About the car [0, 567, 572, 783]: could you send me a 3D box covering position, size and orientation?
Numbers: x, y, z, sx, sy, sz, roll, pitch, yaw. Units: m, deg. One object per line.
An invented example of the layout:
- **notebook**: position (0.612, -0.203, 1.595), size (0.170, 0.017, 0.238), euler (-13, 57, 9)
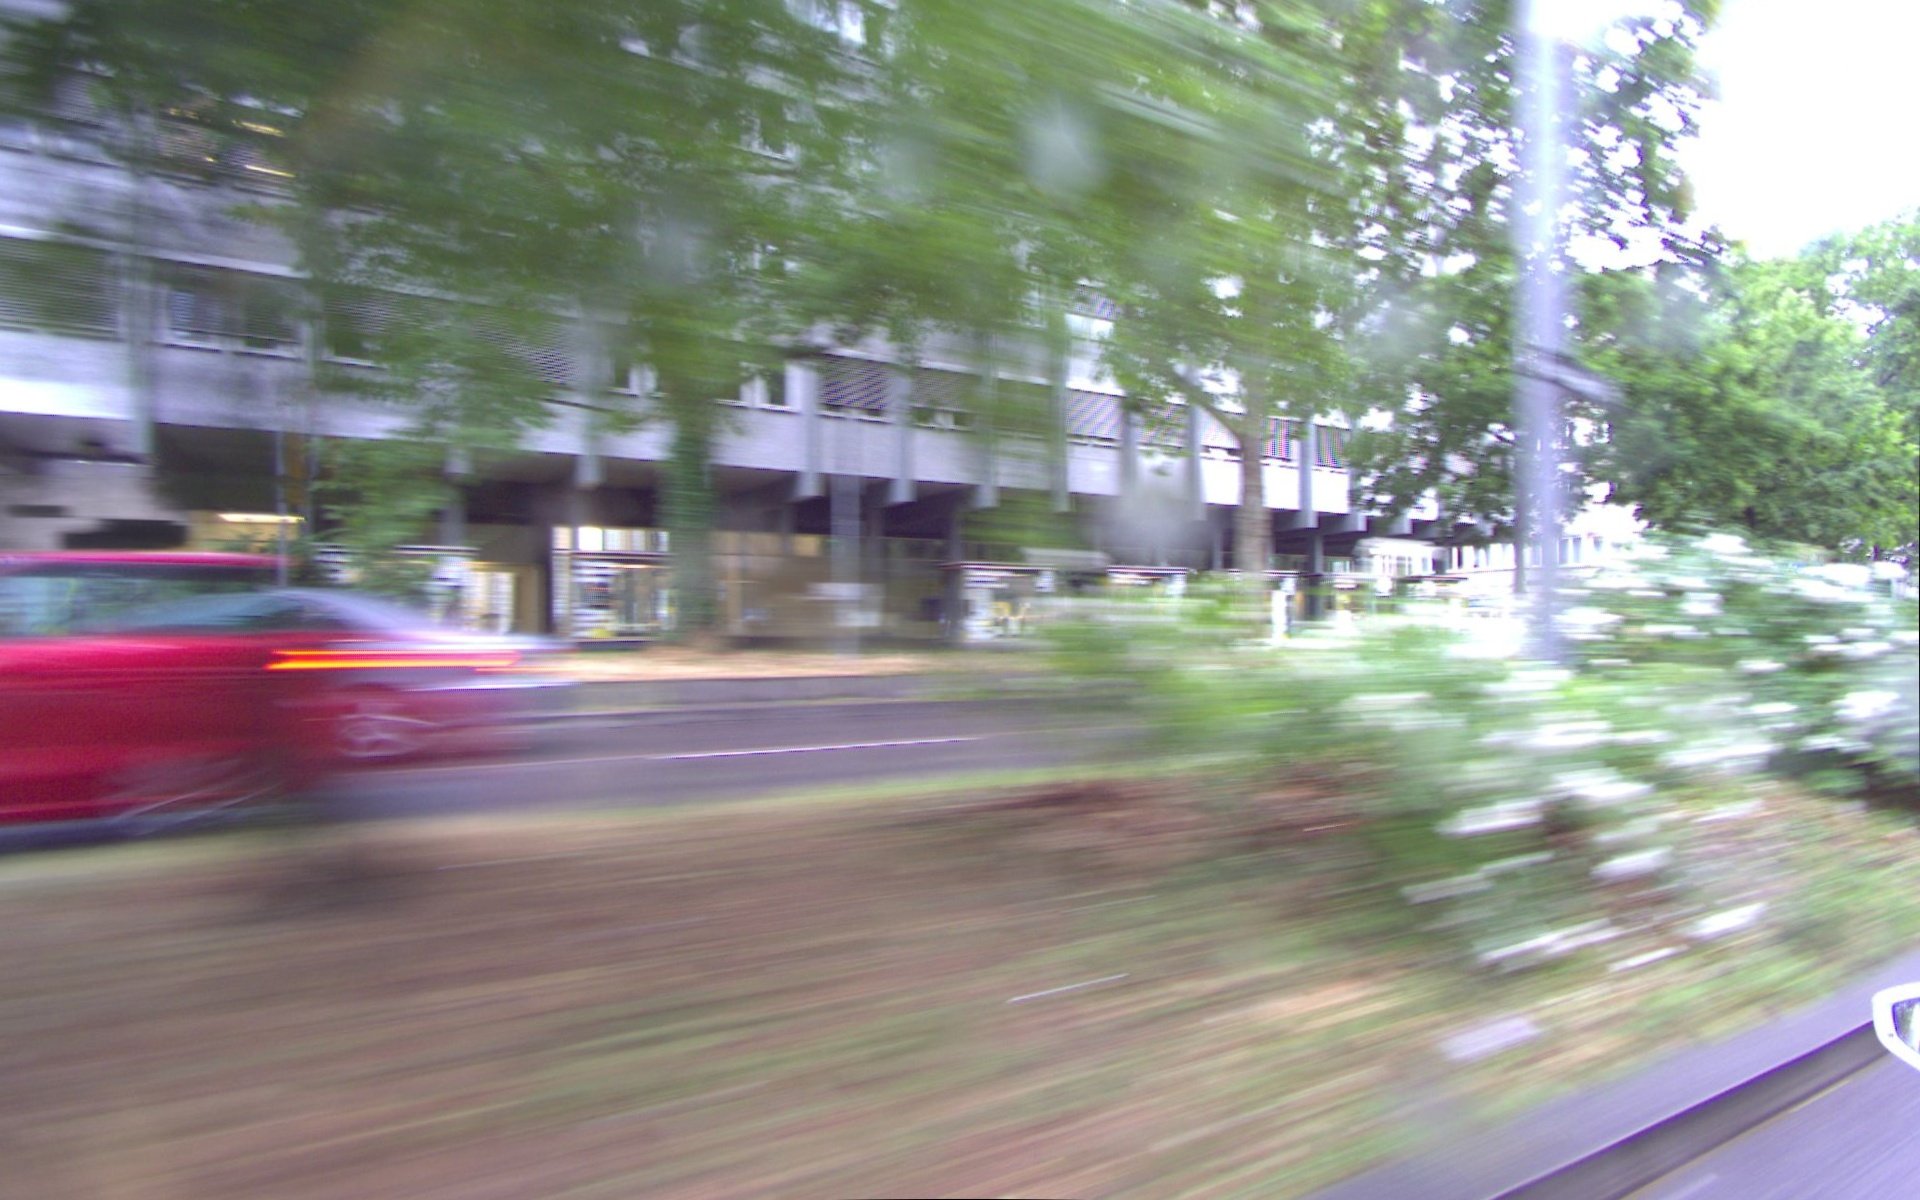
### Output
- **car**: position (-5.662, 0.579, 8.215), size (4.444, 1.446, 1.719), euler (1, -4, -30)

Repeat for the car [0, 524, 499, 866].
- **car**: position (-4.617, 0.444, 4.932), size (4.140, 1.446, 1.719), euler (1, -4, -30)
